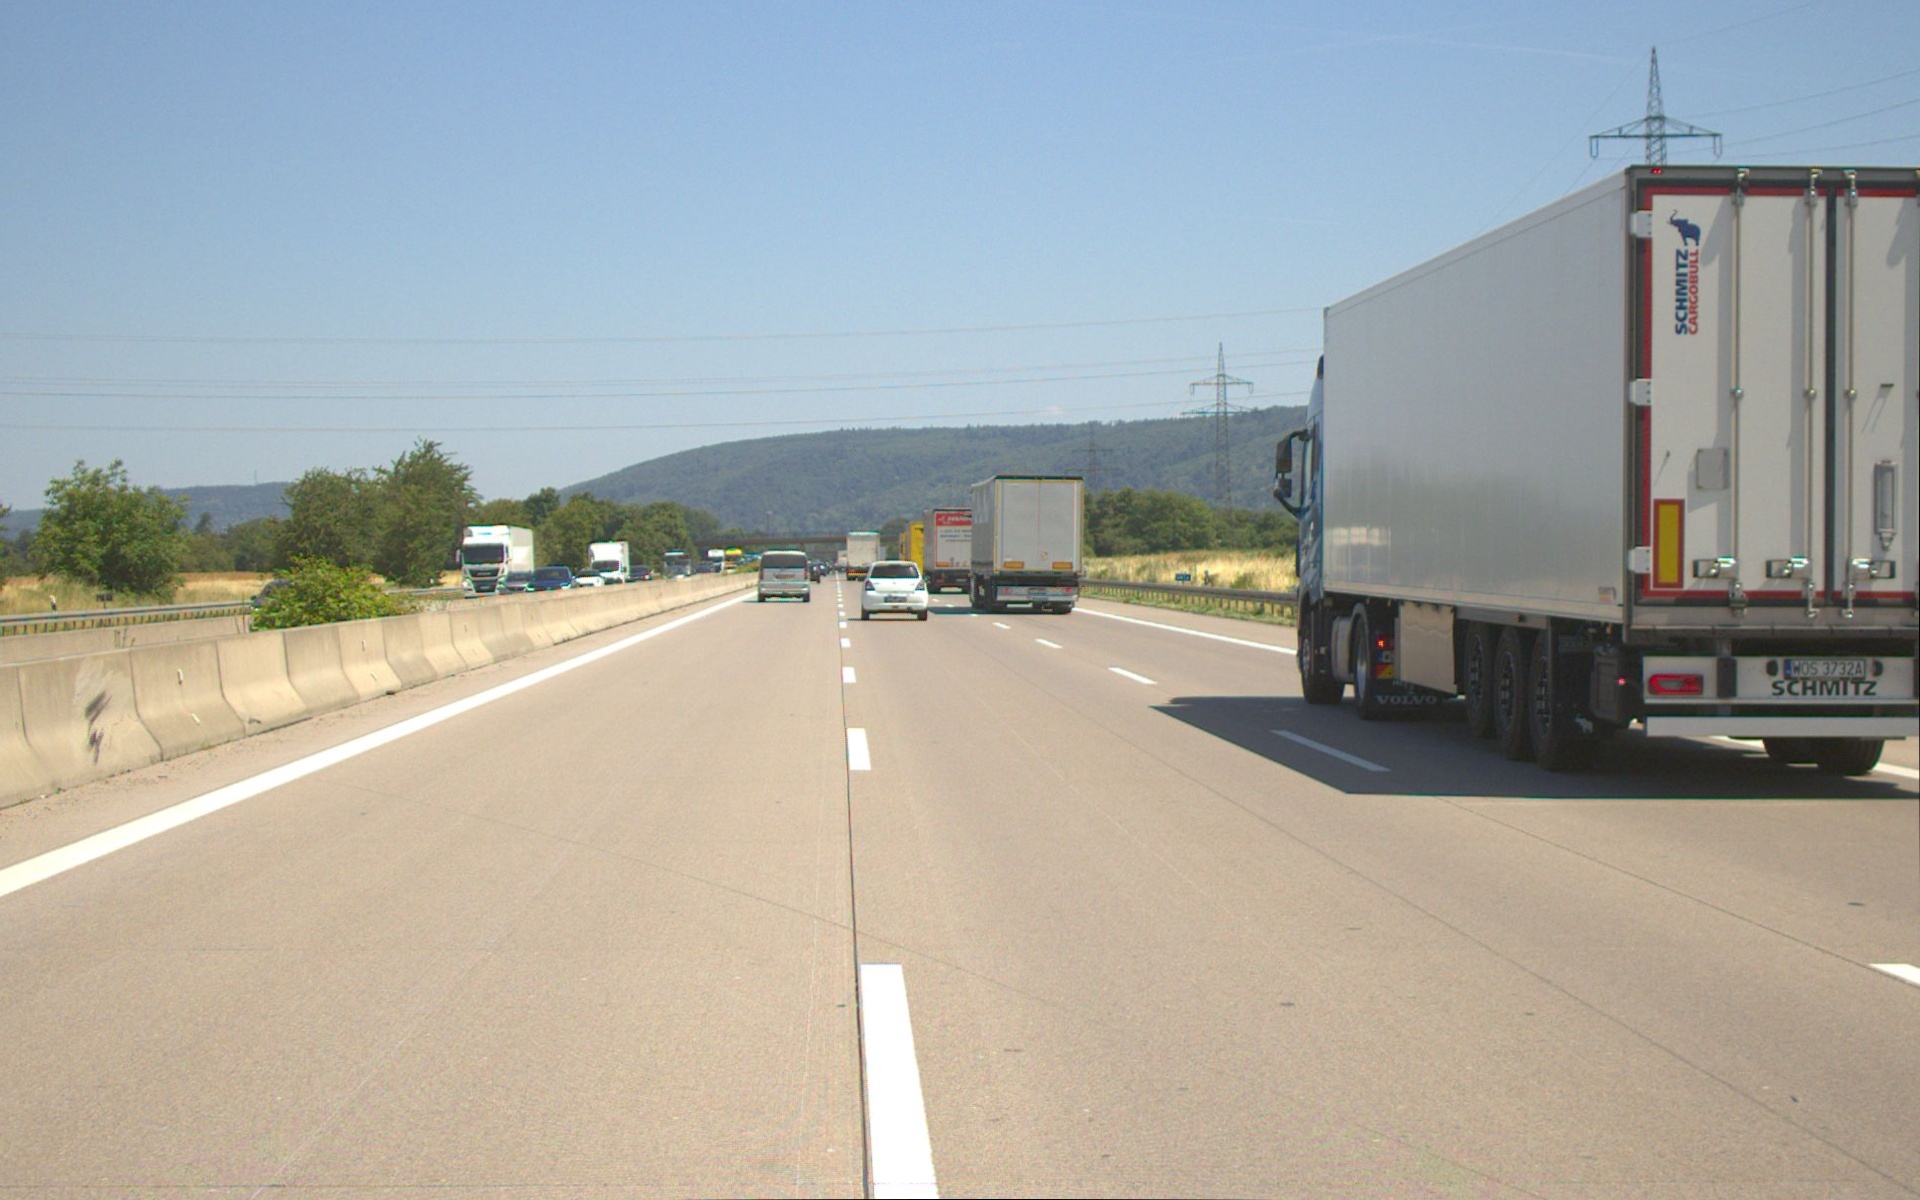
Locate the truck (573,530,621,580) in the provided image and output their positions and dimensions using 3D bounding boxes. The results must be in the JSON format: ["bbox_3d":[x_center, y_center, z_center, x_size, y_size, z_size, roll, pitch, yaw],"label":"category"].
[{"bbox_3d":[-23.294,-2.867,220.988,2.547,3.131,7.924,0,1,-2],"label":"truck"}]

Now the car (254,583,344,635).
[{"bbox_3d":[-18.270,0.233,95.231,1.712,1.355,5.044,1,1,-3],"label":"car"}]

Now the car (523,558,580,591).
[{"bbox_3d":[-15.526,-0.977,130.815,1.771,1.236,4.677,1,1,-2],"label":"car"}]

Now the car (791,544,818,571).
[{"bbox_3d":[-10.825,-2.951,240.103,1.783,1.875,4.000,1,1,-2],"label":"car"}]

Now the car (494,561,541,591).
[{"bbox_3d":[-20.795,-1.154,161.677,1.735,1.368,4.907,1,1,-2],"label":"car"}]

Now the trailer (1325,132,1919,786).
[{"bbox_3d":[5.222,-0.936,27.819,2.708,4.030,12.903,1,1,-2],"label":"trailer"}]

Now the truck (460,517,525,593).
[{"bbox_3d":[-25.271,-2.415,186.135,2.819,4.030,5.678,1,1,-1],"label":"truck"}]

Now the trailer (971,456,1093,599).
[{"bbox_3d":[2.081,-2.149,105.237,3.018,4.047,14.208,1,1,-2],"label":"trailer"}]

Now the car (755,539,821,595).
[{"bbox_3d":[-6.328,-1.228,126.860,2.254,2.007,4.298,1,1,-1],"label":"car"}]

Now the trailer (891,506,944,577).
[{"bbox_3d":[-2.864,-3.869,228.888,3.216,4.548,13.458,1,1,-2],"label":"trailer"}]

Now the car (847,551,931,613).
[{"bbox_3d":[-1.824,-0.466,88.885,2.107,1.531,4.122,1,1,-1],"label":"car"}]

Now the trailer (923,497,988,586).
[{"bbox_3d":[-0.289,-2.800,167.203,2.873,4.087,13.513,1,1,-1],"label":"trailer"}]

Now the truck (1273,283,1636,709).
[{"bbox_3d":[4.986,-1.021,35.659,2.750,4.030,5.466,1,1,-2],"label":"truck"}]

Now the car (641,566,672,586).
[{"bbox_3d":[-21.057,-1.646,238.731,1.846,1.347,4.494,-1,1,-1],"label":"car"}]
